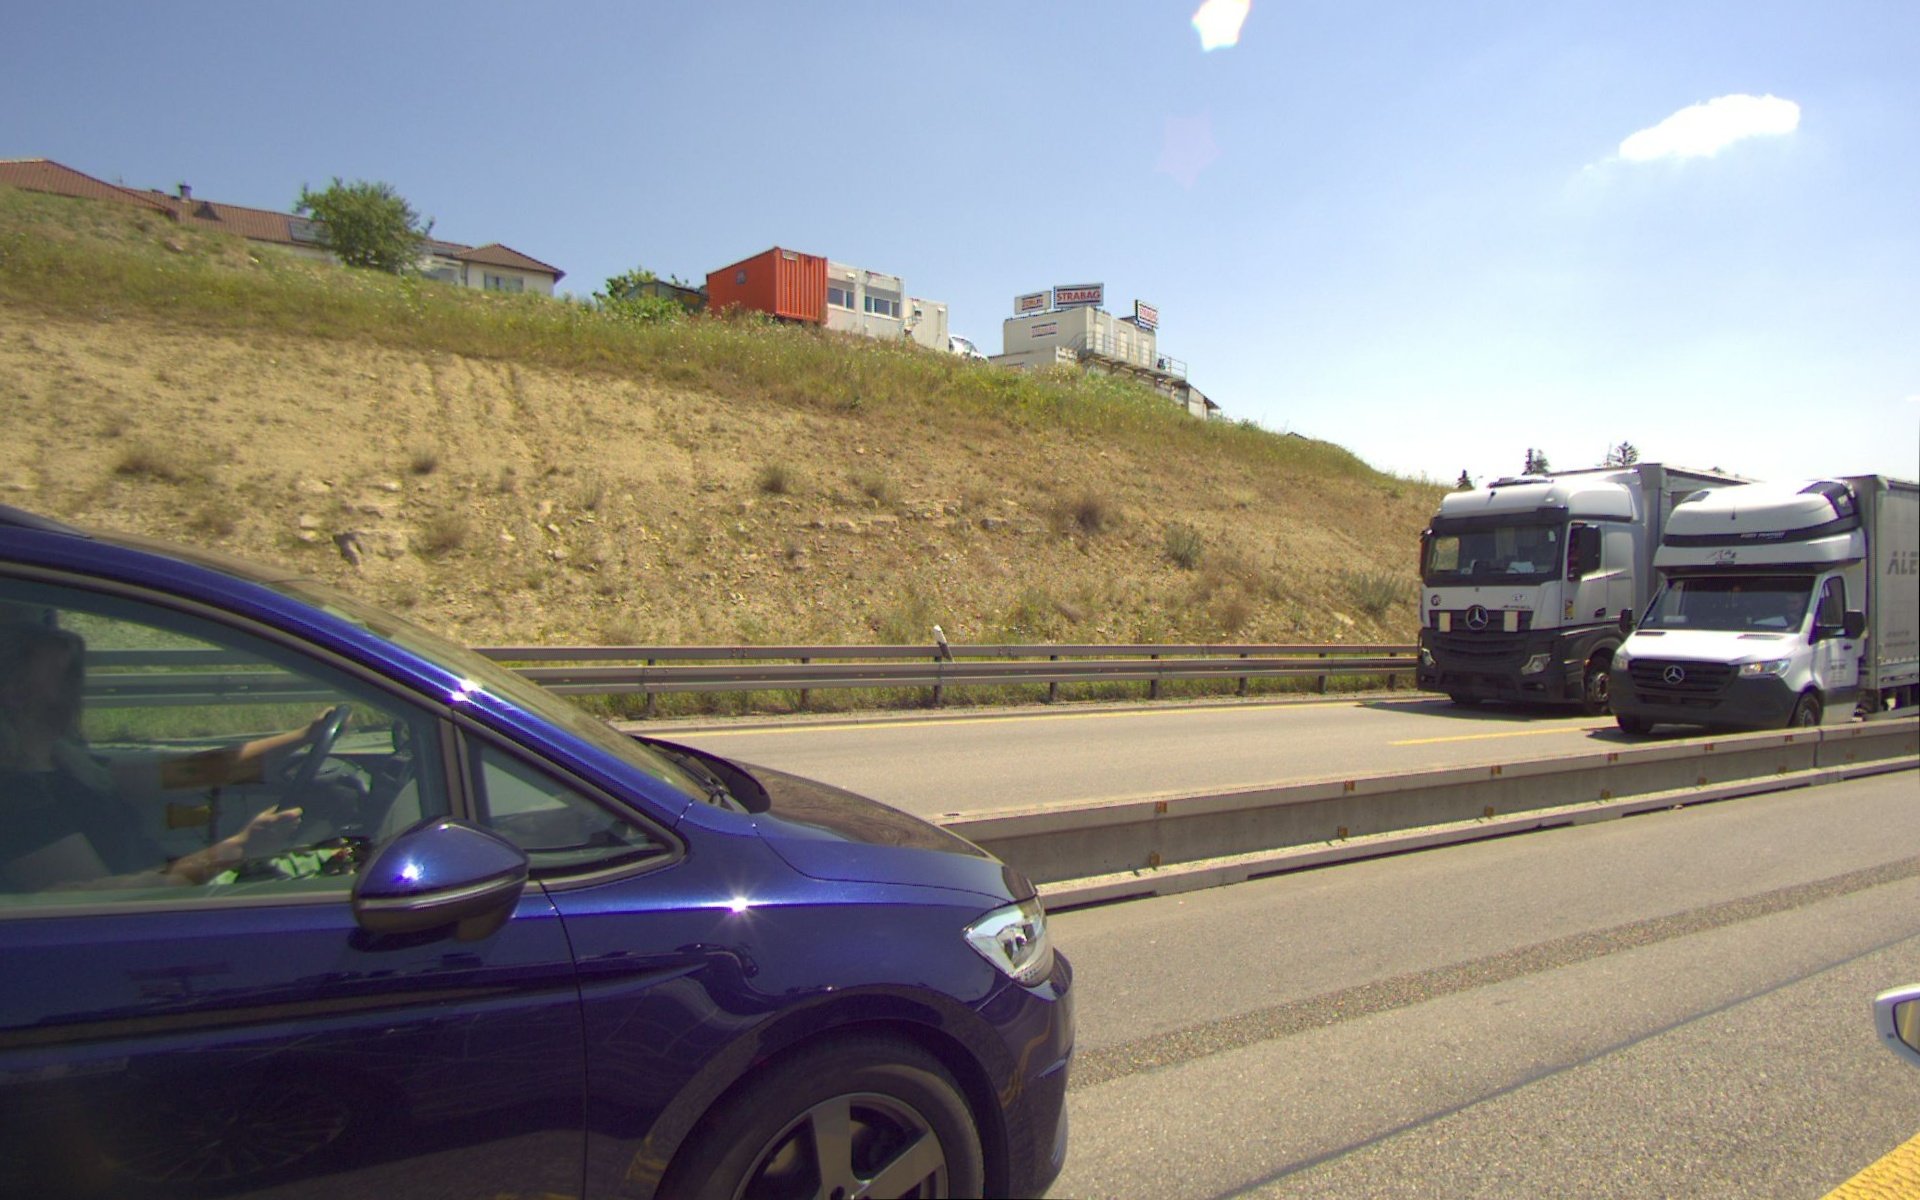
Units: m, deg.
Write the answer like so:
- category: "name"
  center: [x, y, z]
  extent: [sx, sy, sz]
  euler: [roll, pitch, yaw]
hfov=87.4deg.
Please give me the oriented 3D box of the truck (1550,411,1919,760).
- category: "truck"
  center: [11.561, -0.113, 13.944]
  extent: [7.273, 3.808, 2.576]
  euler: [1, 1, -31]

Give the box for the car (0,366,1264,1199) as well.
- category: "car"
  center: [-1.713, 0.574, 1.956]
  extent: [4.597, 1.741, 1.767]
  euler: [0, 1, -30]

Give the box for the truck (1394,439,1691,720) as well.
- category: "truck"
  center: [9.736, -0.279, 16.832]
  extent: [3.909, 4.104, 2.685]
  euler: [1, 1, -30]

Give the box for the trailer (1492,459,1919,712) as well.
- category: "trailer"
  center: [16.305, -0.146, 20.788]
  extent: [13.543, 4.078, 2.684]
  euler: [1, 0, -31]
